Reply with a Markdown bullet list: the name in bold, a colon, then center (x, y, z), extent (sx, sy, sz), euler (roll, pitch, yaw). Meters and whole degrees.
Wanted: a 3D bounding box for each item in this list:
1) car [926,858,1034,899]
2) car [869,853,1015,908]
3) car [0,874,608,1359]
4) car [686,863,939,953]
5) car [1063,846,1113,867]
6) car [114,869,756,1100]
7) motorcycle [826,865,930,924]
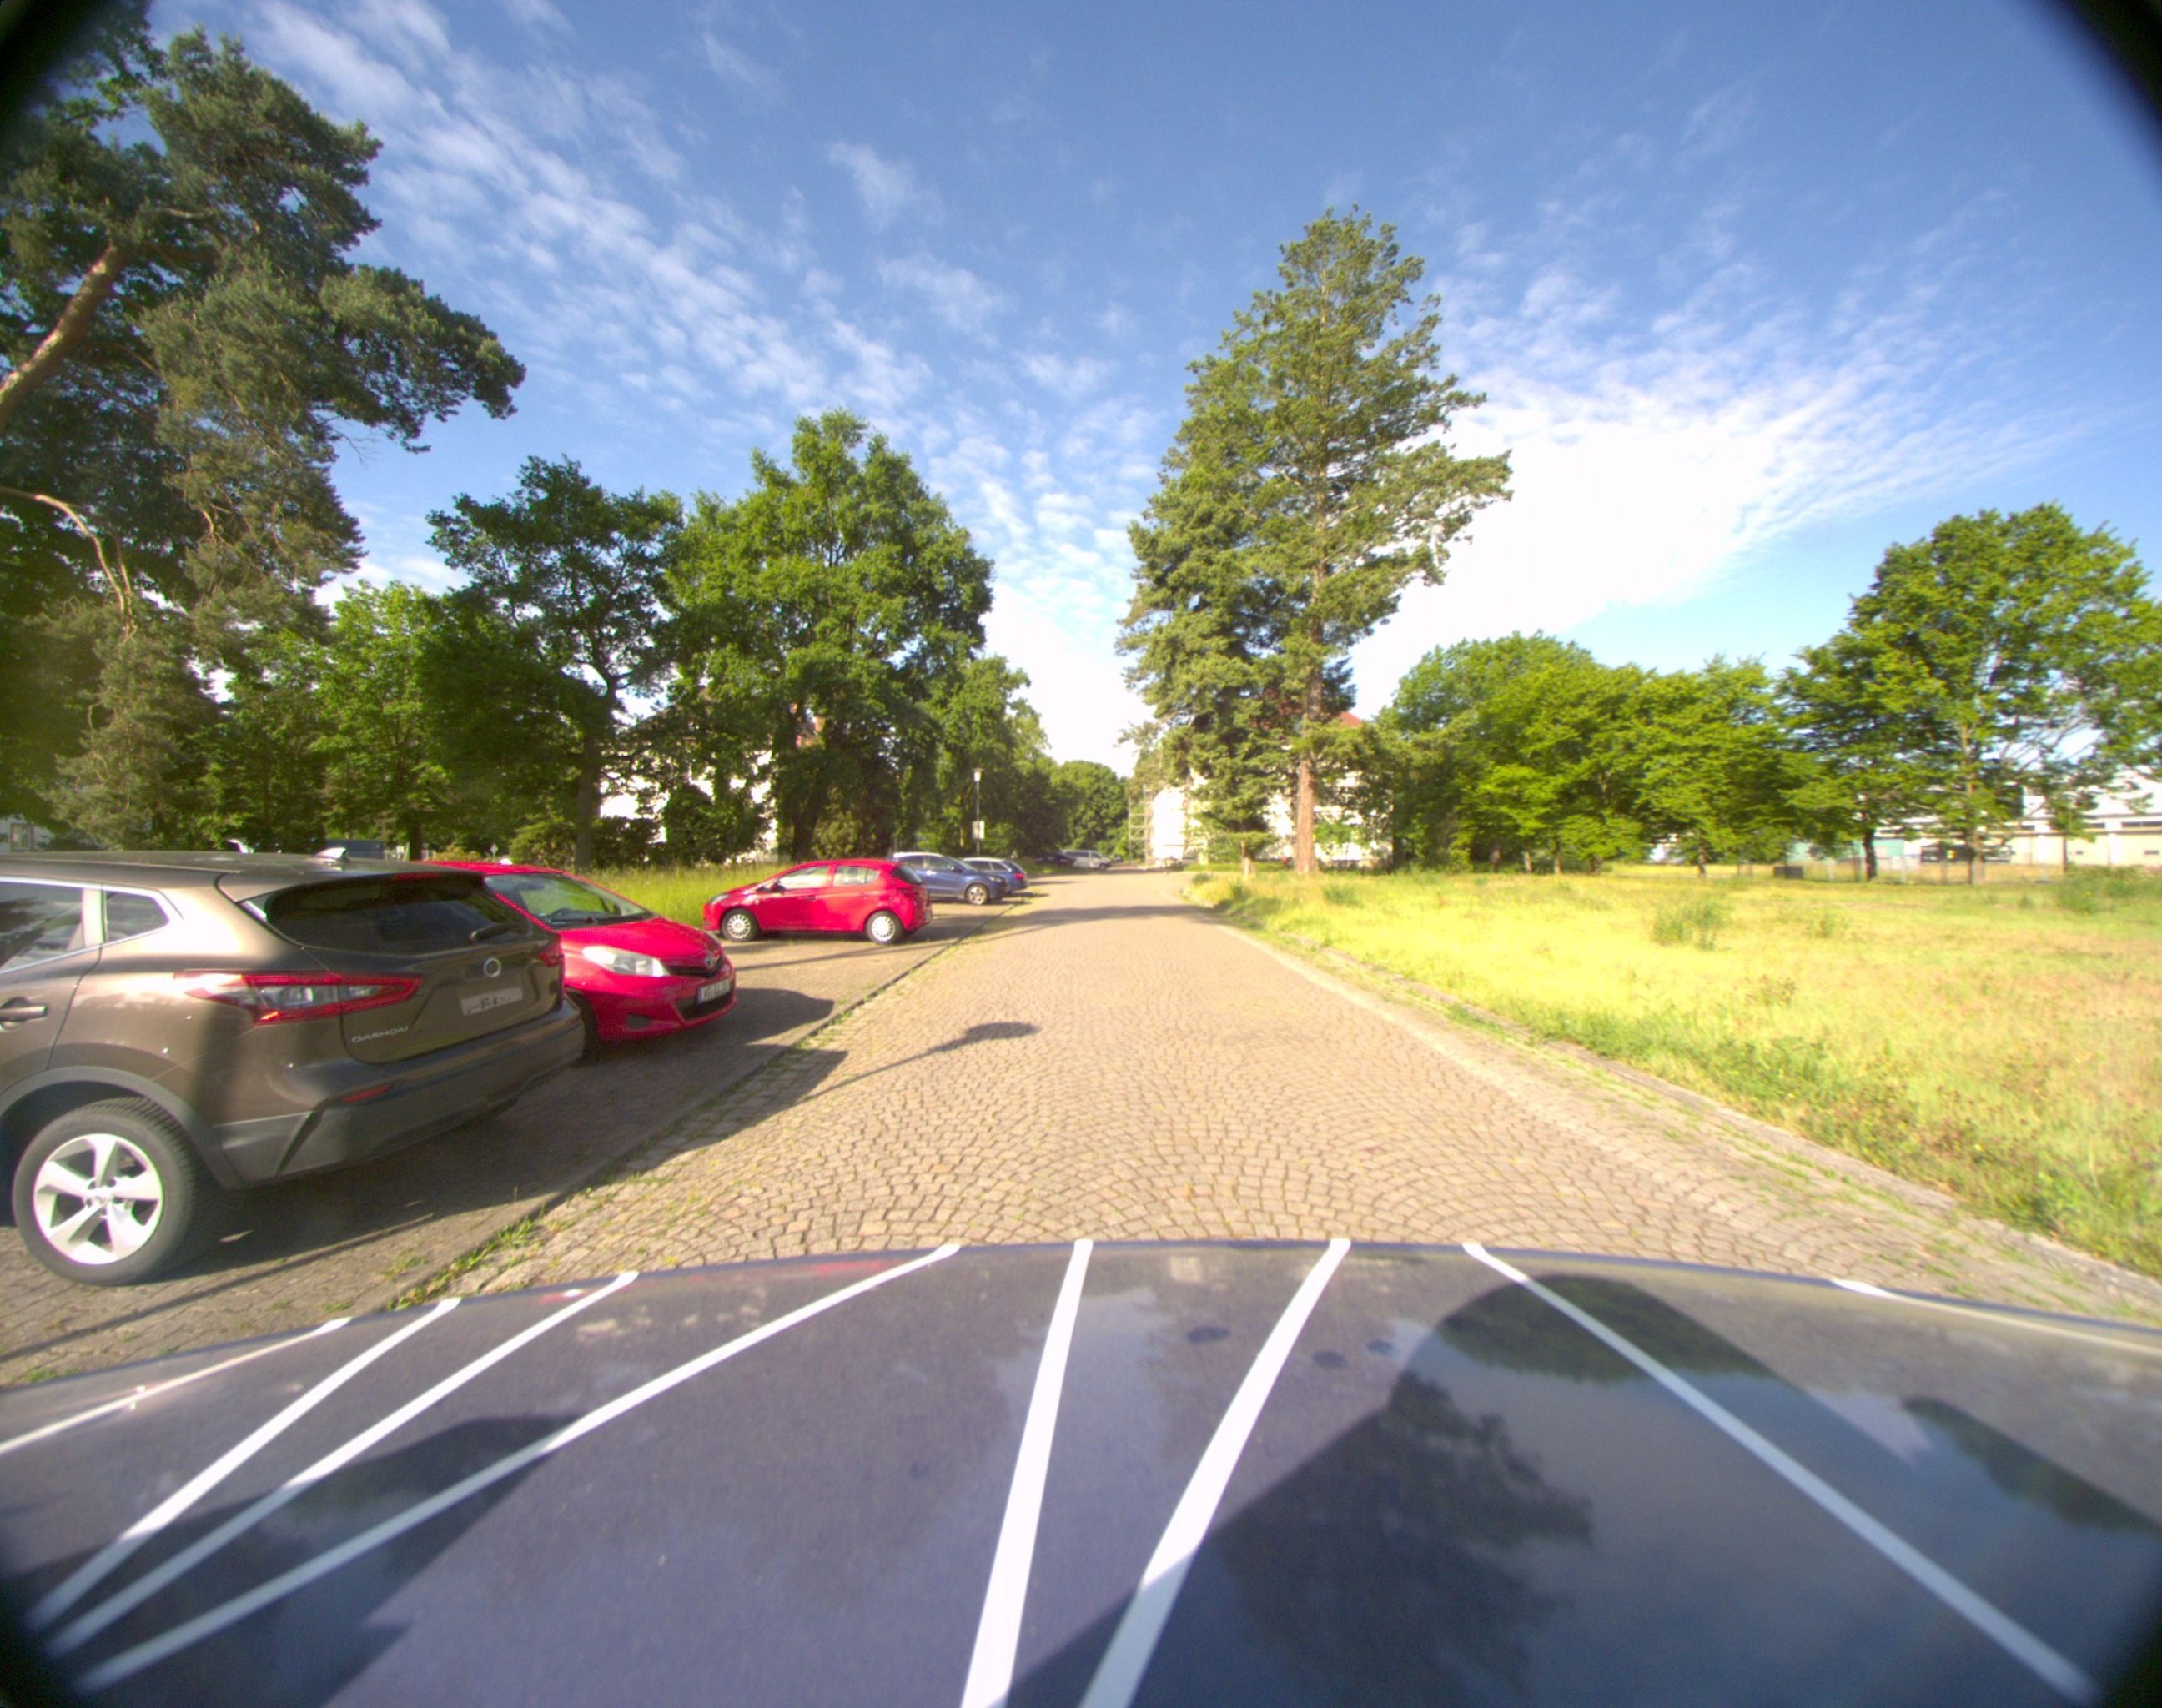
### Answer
- **car**: center (-3.766, 0.892, 28.765), extent (3.809, 1.458, 1.747), euler (0, 1, 2)
- **car**: center (-4.326, 0.808, 24.017), extent (4.273, 1.589, 1.651), euler (1, 1, 1)
- **car**: center (-4.790, 0.922, 3.475), extent (4.117, 1.602, 1.786), euler (0, 0, 0)
- **car**: center (-4.731, 0.932, 13.736), extent (3.997, 1.487, 1.540), euler (0, 1, 1)
- **car**: center (0.715, 0.264, 77.506), extent (4.993, 2.123, 2.164), euler (0, 1, -1)
- **car**: center (-4.946, 0.933, 6.219), extent (3.834, 1.530, 1.703), euler (1, 1, 2)
- **motorcycle**: center (-4.867, 0.960, 18.310), extent (2.235, 1.345, 0.879), euler (0, 1, 3)
